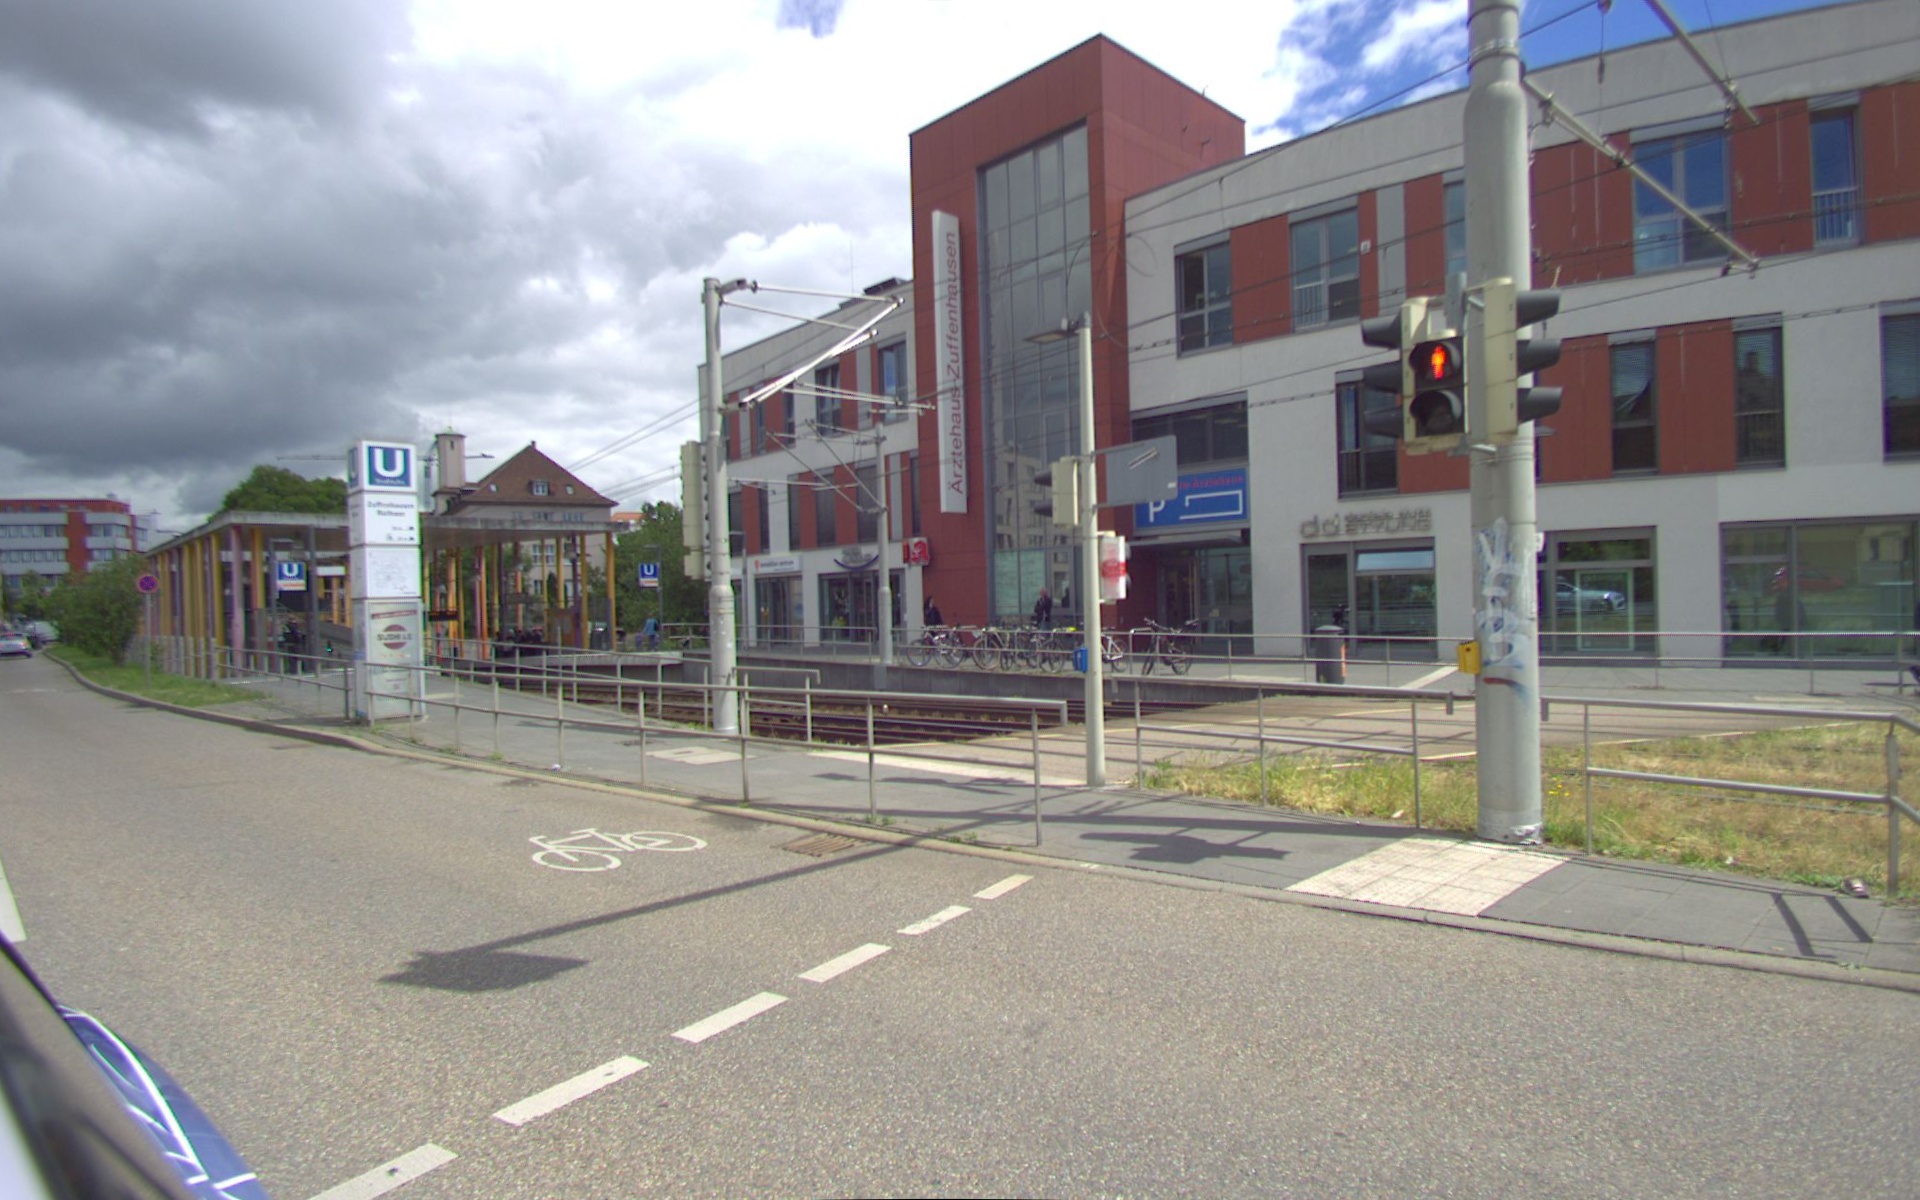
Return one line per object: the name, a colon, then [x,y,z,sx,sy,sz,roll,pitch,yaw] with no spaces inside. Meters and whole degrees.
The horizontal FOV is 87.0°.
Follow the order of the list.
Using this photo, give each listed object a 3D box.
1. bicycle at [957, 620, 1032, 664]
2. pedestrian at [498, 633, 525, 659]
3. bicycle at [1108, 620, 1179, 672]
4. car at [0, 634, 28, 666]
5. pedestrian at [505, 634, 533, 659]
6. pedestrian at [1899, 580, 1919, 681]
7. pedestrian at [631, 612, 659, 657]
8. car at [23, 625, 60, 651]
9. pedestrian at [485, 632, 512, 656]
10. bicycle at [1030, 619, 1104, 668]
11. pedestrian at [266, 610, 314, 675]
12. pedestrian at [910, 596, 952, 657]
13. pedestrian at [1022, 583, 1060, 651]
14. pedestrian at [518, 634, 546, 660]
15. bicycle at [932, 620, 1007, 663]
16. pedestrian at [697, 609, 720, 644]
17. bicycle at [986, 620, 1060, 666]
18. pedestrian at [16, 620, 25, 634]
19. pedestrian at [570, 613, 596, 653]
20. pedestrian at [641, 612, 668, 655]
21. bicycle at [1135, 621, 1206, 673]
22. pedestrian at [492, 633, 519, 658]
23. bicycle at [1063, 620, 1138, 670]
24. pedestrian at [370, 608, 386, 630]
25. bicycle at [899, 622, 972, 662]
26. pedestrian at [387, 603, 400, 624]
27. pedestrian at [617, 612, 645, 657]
bicycle: [0.805,0.959,23.284,1.833,0.929,0.455,-1,0,-37]
pedestrian: [-21.050,2.152,47.497,0.930,1.143,0.887,0,-2,-43]
bicycle: [3.737,0.917,20.521,1.714,0.965,0.428,-1,0,-42]
car: [-53.780,2.815,57.161,1.566,1.548,3.950,-5,3,-43]
pedestrian: [-20.386,2.143,46.804,0.930,1.143,0.887,0,-2,-43]
pedestrian: [15.484,0.478,15.991,0.687,1.592,0.729,-2,-1,24]
pedestrian: [-14.117,1.535,45.346,0.851,1.983,1.108,0,-1,-39]
car: [-77.669,3.164,85.636,1.968,2.092,4.008,0,-1,-38]
pedestrian: [-22.371,2.121,49.080,0.930,1.143,0.887,0,-2,-43]
bicycle: [2.330,0.920,21.905,1.835,0.970,0.455,-1,0,-42]
pedestrian: [-20.557,1.286,31.053,1.089,1.929,0.865,1,-1,-43]
pedestrian: [-0.828,0.743,28.760,0.935,1.711,0.778,-1,-1,39]
pedestrian: [2.256,0.453,28.069,0.857,1.859,0.875,0,1,17]
pedestrian: [-19.578,2.135,46.261,0.930,1.143,0.887,0,-2,-43]
bicycle: [0.239,0.967,23.891,1.833,0.939,0.455,-1,0,-36]
pedestrian: [-14.463,1.535,58.147,1.087,1.983,0.867,0,-1,-30]
bicycle: [1.426,0.940,22.630,1.834,0.946,0.455,-1,0,-40]
pedestrian: [-103.355,3.000,111.318,0.663,1.524,0.784,-1,-1,-34]
pedestrian: [-18.818,1.639,50.492,0.851,1.983,1.107,1,-1,-42]
pedestrian: [-14.199,1.542,47.098,0.851,1.983,1.108,0,-1,-39]
bicycle: [4.191,0.913,20.079,1.714,0.959,0.428,-1,0,-42]
pedestrian: [-21.680,2.162,48.270,0.930,1.143,0.887,0,-2,-43]
bicycle: [2.959,0.925,21.215,1.835,0.942,0.455,-1,0,-42]
pedestrian: [-52.812,1.731,91.830,1.111,2.029,0.817,0,-2,-39]
bicycle: [-0.595,1.012,24.651,1.833,0.888,0.455,-1,0,-36]
pedestrian: [-57.241,1.390,102.235,1.107,2.029,1.665,-1,-1,-28]
pedestrian: [-14.610,1.511,44.935,0.851,1.983,1.108,0,-1,-39]
